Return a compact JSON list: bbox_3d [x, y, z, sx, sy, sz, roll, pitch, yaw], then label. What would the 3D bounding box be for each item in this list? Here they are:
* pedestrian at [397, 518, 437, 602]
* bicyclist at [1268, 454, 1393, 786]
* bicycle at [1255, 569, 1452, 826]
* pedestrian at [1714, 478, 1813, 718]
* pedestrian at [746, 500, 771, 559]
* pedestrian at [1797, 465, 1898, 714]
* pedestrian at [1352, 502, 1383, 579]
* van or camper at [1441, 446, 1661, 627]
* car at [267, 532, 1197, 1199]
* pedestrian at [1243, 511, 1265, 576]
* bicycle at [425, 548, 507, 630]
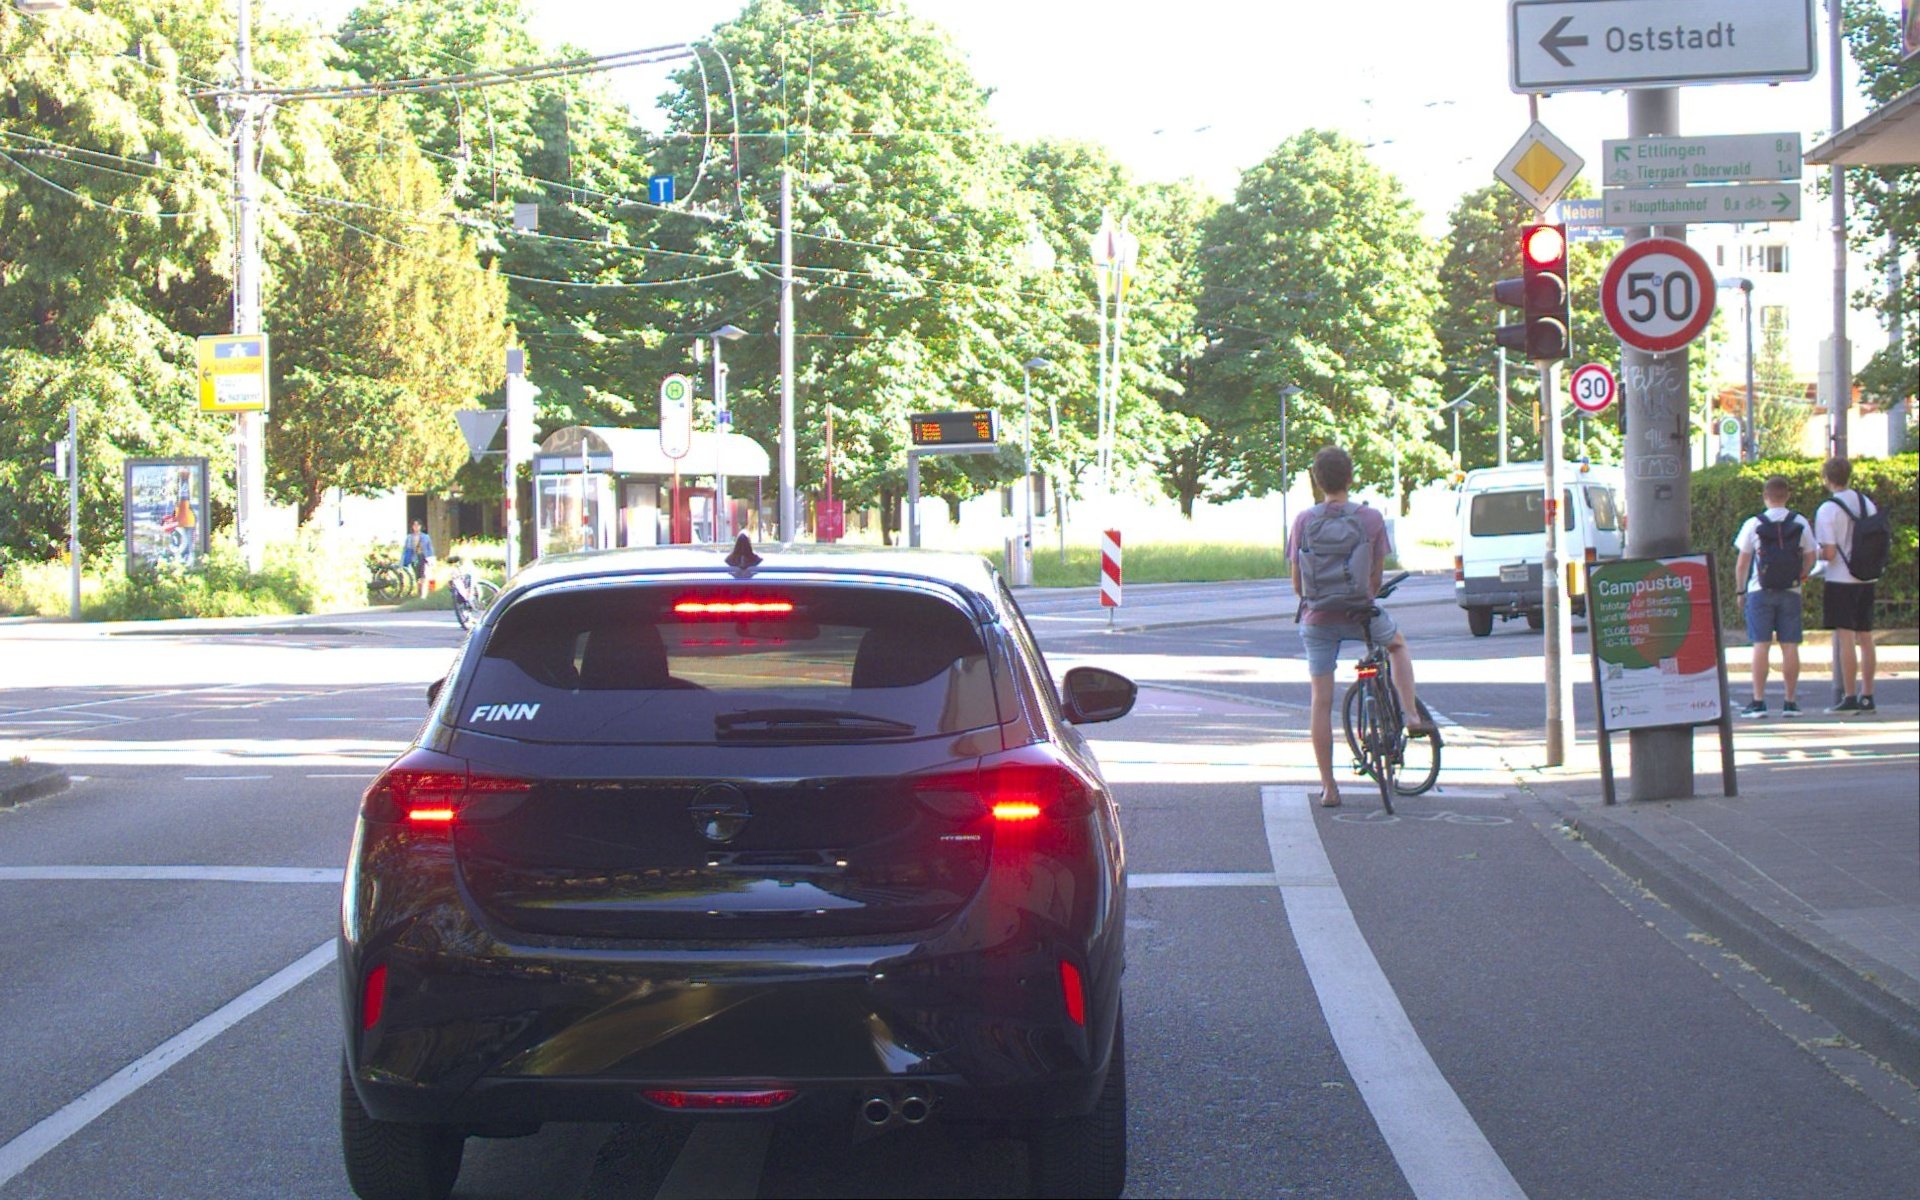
[{"bbox_3d":[-9.533,-0.701,60.333,0.570,1.467,0.666,-1,1,1],"label":"pedestrian"},{"bbox_3d":[1.918,0.095,17.757,0.534,1.686,0.567,0,1,17],"label":"bicyclist"},{"bbox_3d":[2.081,0.471,17.955,0.753,1.231,2.014,0,1,14],"label":"bicycle"},{"bbox_3d":[5.988,-0.020,25.600,0.633,1.757,0.582,1,0,20],"label":"pedestrian"},{"bbox_3d":[-6.382,-2.230,108.774,0.737,1.865,0.662,1,0,-6],"label":"pedestrian"},{"bbox_3d":[6.590,-0.082,25.523,0.633,1.814,0.744,1,0,20],"label":"pedestrian"},{"bbox_3d":[9.934,-1.458,83.785,0.604,1.865,0.519,1,0,21],"label":"pedestrian"},{"bbox_3d":[7.996,-0.839,46.198,2.031,2.302,4.535,1,1,21],"label":"van or camper"},{"bbox_3d":[-0.474,0.567,8.817,1.840,1.457,3.984,0,1,-1],"label":"car"},{"bbox_3d":[8.529,-1.636,99.654,0.604,1.865,0.519,1,0,6],"label":"pedestrian"},{"bbox_3d":[-6.639,-0.160,46.304,0.796,1.061,2.185,0,1,-1],"label":"bicycle"}]
